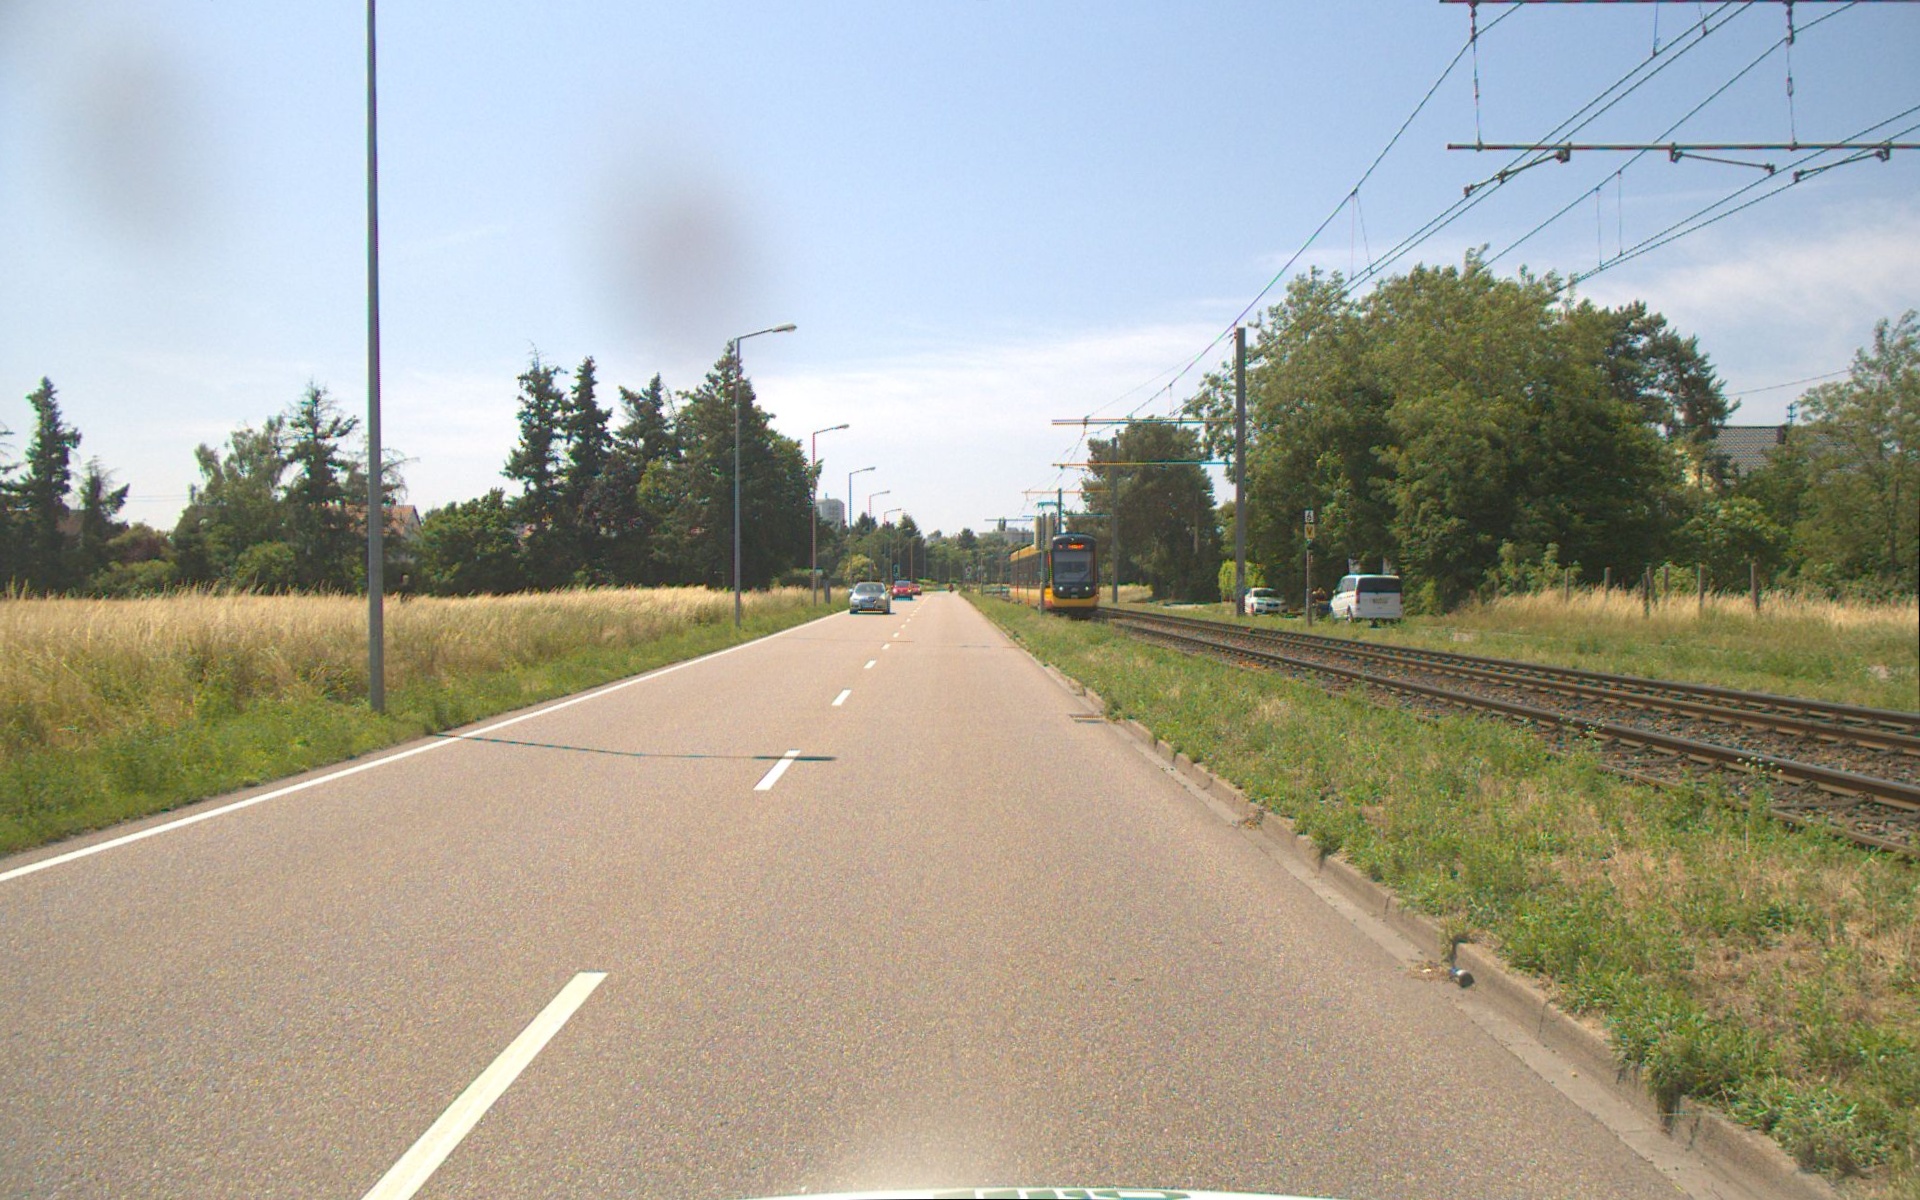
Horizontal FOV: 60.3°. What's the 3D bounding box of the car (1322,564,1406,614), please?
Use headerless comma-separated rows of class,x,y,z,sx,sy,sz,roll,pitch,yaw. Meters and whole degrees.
car,15.239,-0.389,62.678,1.953,1.834,4.793,-1,0,-1

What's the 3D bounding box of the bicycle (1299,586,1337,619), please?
bicycle,15.889,0.117,73.539,0.909,1.455,3.385,-1,0,-1

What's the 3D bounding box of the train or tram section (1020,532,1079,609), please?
train or tram section,4.558,-1.442,85.225,2.508,3.778,6.728,-1,0,-1

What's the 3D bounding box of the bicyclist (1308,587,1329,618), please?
bicyclist,15.917,0.093,73.452,0.687,1.361,0.903,-1,-1,-1

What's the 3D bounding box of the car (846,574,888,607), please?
car,-4.401,-0.439,79.192,1.797,1.493,4.677,0,-1,-1

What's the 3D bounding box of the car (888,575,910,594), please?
car,-4.801,-1.248,131.047,1.612,1.424,3.843,-1,0,-1

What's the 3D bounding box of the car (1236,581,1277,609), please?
car,14.645,-0.233,81.846,1.399,1.331,3.465,-1,0,-1

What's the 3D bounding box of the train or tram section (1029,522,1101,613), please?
train or tram section,4.721,-1.336,76.082,2.380,3.832,11.556,-1,0,-1

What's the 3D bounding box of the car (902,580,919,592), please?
car,-5.299,-1.504,178.409,1.770,1.308,4.285,-1,0,-1
